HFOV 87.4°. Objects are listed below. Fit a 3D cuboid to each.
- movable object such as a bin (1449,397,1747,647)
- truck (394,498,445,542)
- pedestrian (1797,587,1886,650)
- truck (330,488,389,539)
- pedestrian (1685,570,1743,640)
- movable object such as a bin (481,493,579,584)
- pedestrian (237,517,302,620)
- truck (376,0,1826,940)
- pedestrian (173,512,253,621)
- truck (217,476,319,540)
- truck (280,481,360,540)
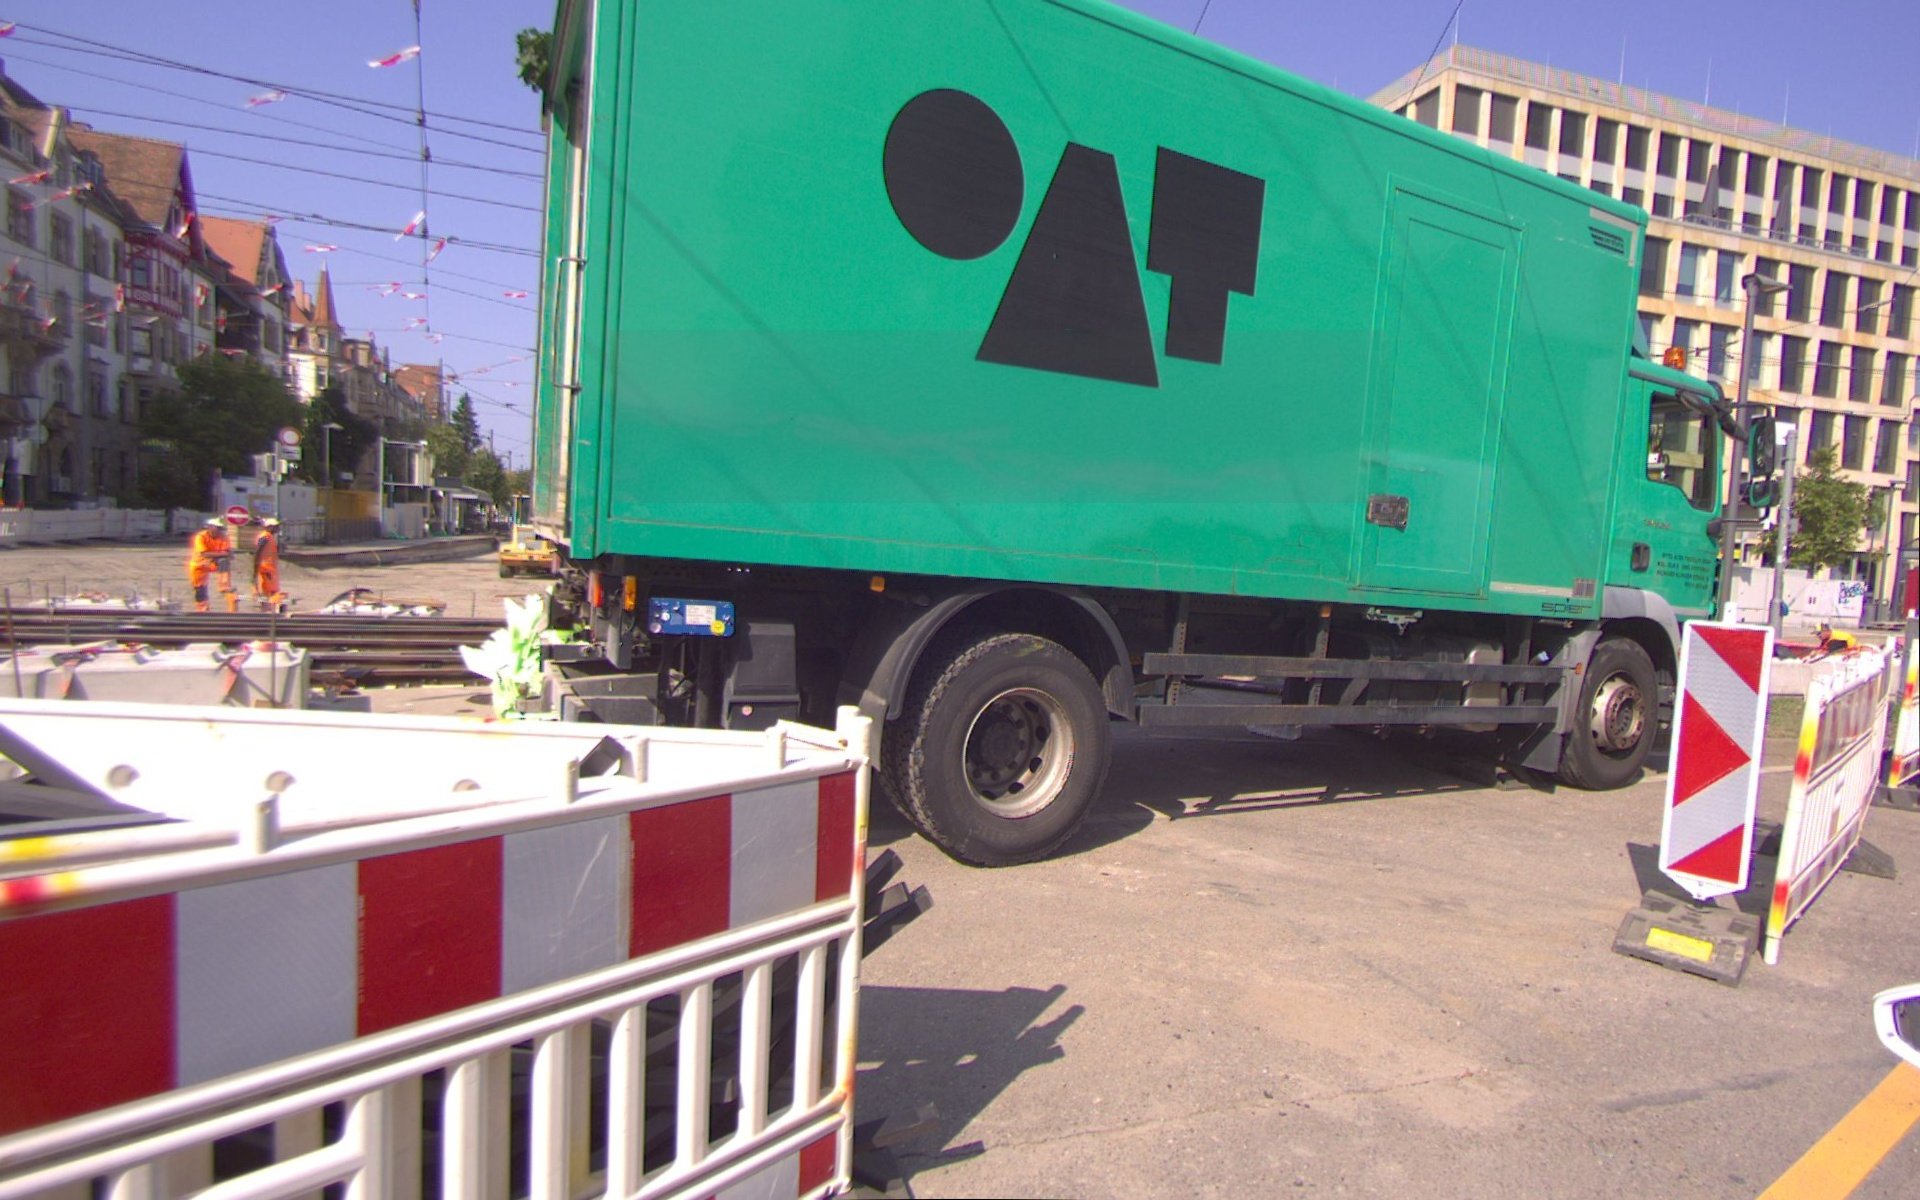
[{"bbox_3d":[12.979,-1.494,20.666,4.142,4.616,2.986,1,3,-16],"label":"movable object such as a bin"},{"bbox_3d":[-37.379,-5.465,69.642,2.205,2.828,6.325,1,3,-20],"label":"truck"},{"bbox_3d":[14.397,0.300,16.422,0.867,0.968,0.700,1,3,-17],"label":"pedestrian"},{"bbox_3d":[-39.731,-5.655,66.609,2.205,3.085,6.325,1,3,-20],"label":"truck"},{"bbox_3d":[13.096,0.076,17.456,0.577,1.170,0.702,3,3,22],"label":"pedestrian"},{"bbox_3d":[-15.061,-2.201,35.553,2.450,2.827,5.499,3,3,-16],"label":"movable object such as a bin"},{"bbox_3d":[-11.944,-0.544,17.393,0.747,1.725,0.738,1,3,-19],"label":"pedestrian"},{"bbox_3d":[1.533,-0.880,6.390,8.900,3.840,2.797,0,3,-28],"label":"truck"},{"bbox_3d":[-12.253,-0.549,16.499,0.743,1.725,0.741,2,3,2],"label":"pedestrian"},{"bbox_3d":[-34.008,-4.460,49.625,2.650,2.853,6.012,1,3,-19],"label":"truck"},{"bbox_3d":[-36.919,-5.071,58.146,2.591,3.085,6.325,1,3,-20],"label":"truck"}]
